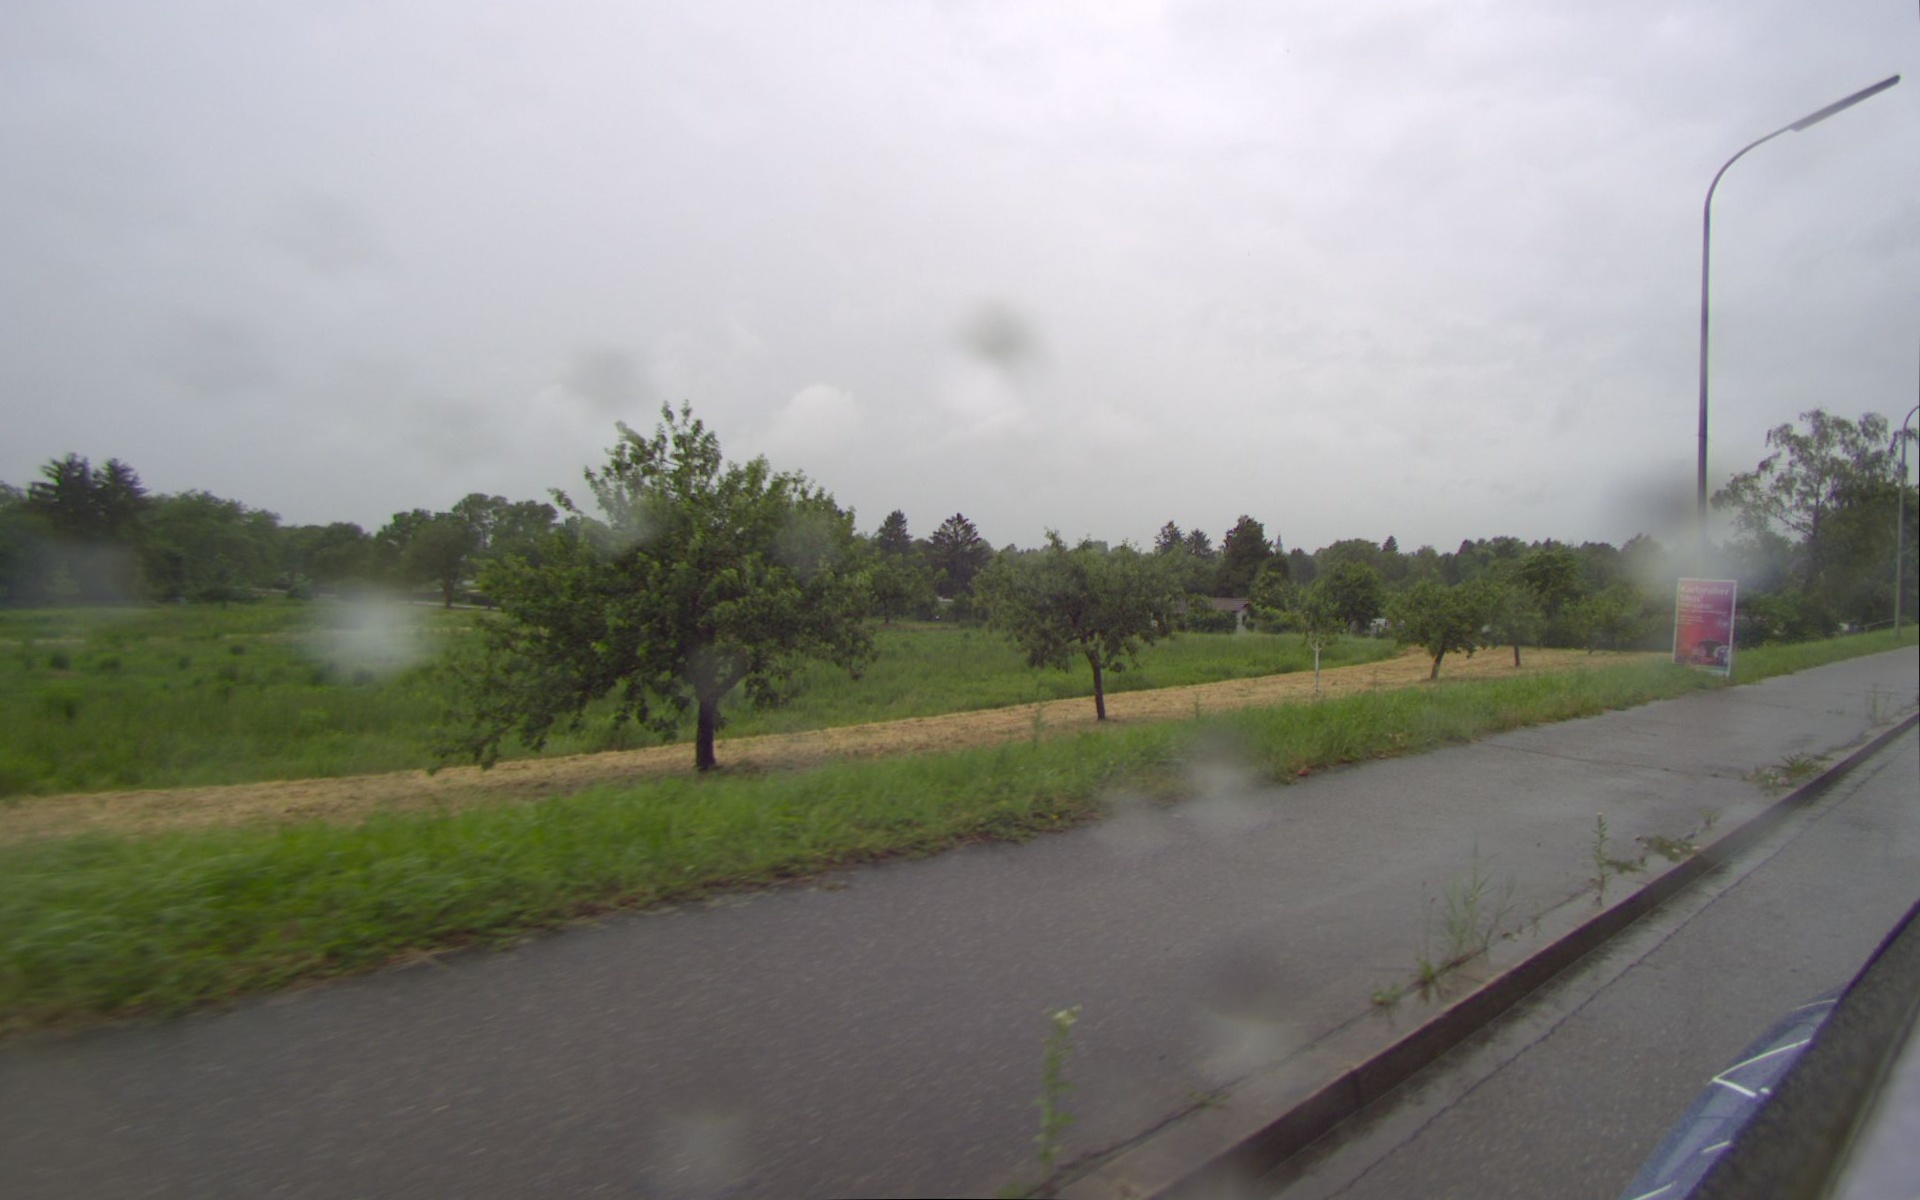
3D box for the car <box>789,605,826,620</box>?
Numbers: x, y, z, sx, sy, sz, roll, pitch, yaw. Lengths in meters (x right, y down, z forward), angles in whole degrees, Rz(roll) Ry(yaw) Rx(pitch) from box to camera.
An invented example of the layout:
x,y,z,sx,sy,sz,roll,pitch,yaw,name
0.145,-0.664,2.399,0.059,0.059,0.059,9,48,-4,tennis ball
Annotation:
x,y,z,sx,sy,sz,roll,pitch,yaw,name
-16.130,1.325,107.278,3.984,1.529,1.773,1,1,42,car
